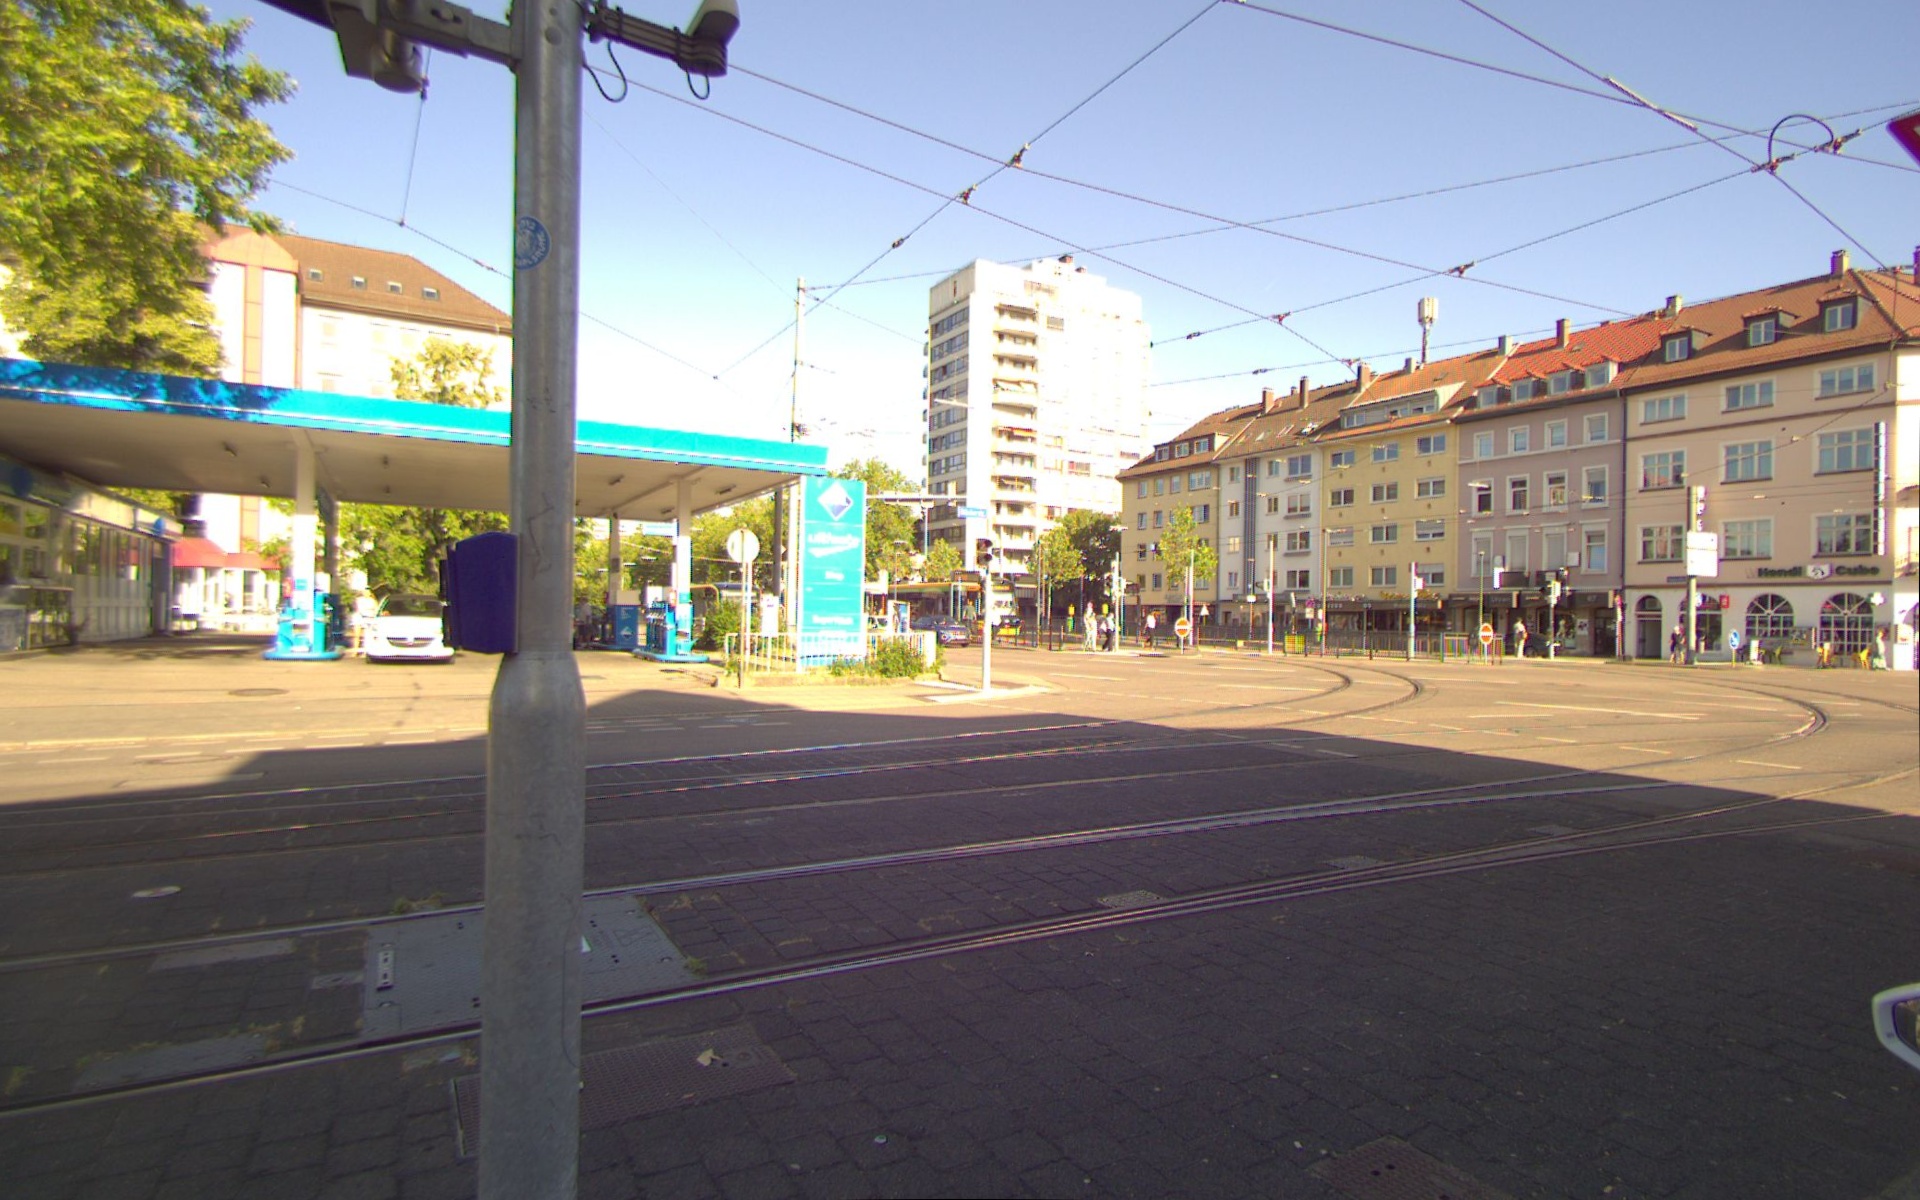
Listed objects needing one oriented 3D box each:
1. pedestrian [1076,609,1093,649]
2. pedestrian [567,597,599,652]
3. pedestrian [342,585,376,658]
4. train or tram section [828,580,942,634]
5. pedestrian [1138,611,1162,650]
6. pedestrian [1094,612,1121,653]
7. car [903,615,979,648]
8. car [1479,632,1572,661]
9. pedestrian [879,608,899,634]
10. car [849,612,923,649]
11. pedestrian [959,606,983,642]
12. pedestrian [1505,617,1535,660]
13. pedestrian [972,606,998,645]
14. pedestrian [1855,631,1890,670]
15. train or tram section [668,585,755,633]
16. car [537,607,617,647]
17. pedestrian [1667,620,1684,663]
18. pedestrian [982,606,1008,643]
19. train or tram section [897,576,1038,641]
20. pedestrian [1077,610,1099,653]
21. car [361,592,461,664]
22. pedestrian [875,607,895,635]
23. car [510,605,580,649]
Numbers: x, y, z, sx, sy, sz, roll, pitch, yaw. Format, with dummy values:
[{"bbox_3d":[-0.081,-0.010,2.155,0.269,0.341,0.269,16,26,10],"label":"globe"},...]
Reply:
[{"bbox_3d":[5.394,1.249,43.605,0.491,1.721,0.553,1,-1,-33],"label":"pedestrian"},{"bbox_3d":[-12.680,0.816,33.835,0.896,1.826,0.893,1,-1,-15],"label":"pedestrian"},{"bbox_3d":[-13.904,0.502,23.234,0.640,1.652,0.806,1,-1,-31],"label":"pedestrian"},{"bbox_3d":[-5.252,0.520,67.580,3.252,3.335,10.157,1,-1,-33],"label":"train or tram section"},{"bbox_3d":[8.457,1.344,44.746,0.773,1.721,0.692,1,-1,-33],"label":"pedestrian"},{"bbox_3d":[6.049,1.325,41.165,0.791,1.646,0.706,1,-1,-33],"label":"pedestrian"},{"bbox_3d":[-0.961,1.491,48.346,1.937,1.475,4.077,1,0,-30],"label":"car"},{"bbox_3d":[30.773,2.497,54.712,1.980,1.483,3.962,1,-1,-34],"label":"car"},{"bbox_3d":[-4.426,1.313,62.546,0.902,1.646,0.887,1,-1,-33],"label":"pedestrian"},{"bbox_3d":[-3.509,1.393,46.804,1.976,1.615,3.970,1,-1,-29],"label":"car"},{"bbox_3d":[0.555,1.228,51.291,0.902,1.826,0.887,1,-1,-33],"label":"pedestrian"},{"bbox_3d":[24.493,1.695,43.952,0.801,1.842,0.871,1,-1,-29],"label":"pedestrian"},{"bbox_3d":[1.223,1.226,48.527,0.902,1.826,0.887,1,-1,-33],"label":"pedestrian"},{"bbox_3d":[39.592,2.175,43.597,1.052,1.612,1.037,0,-1,40],"label":"pedestrian"},{"bbox_3d":[-15.033,0.450,60.037,2.233,2.627,10.398,2,0,-30],"label":"train or tram section"},{"bbox_3d":[-17.206,1.210,45.381,1.960,1.685,4.001,1,-1,2],"label":"car"},{"bbox_3d":[34.208,1.984,48.017,0.498,2.040,0.507,1,-1,-27],"label":"pedestrian"},{"bbox_3d":[1.731,1.201,49.283,0.902,1.826,0.887,1,-1,-33],"label":"pedestrian"},{"bbox_3d":[0.228,0.517,58.961,3.252,3.459,10.157,1,-1,-33],"label":"train or tram section"},{"bbox_3d":[5.194,1.288,40.779,0.549,1.721,0.740,1,-1,-33],"label":"pedestrian"},{"bbox_3d":[-12.275,0.604,22.431,1.773,1.461,3.968,2,-1,-30],"label":"car"},{"bbox_3d":[-4.567,1.276,61.241,0.902,1.646,0.887,1,-1,-33],"label":"pedestrian"},{"bbox_3d":[-13.505,0.862,32.576,1.752,1.332,3.520,1,-1,-28],"label":"car"}]
